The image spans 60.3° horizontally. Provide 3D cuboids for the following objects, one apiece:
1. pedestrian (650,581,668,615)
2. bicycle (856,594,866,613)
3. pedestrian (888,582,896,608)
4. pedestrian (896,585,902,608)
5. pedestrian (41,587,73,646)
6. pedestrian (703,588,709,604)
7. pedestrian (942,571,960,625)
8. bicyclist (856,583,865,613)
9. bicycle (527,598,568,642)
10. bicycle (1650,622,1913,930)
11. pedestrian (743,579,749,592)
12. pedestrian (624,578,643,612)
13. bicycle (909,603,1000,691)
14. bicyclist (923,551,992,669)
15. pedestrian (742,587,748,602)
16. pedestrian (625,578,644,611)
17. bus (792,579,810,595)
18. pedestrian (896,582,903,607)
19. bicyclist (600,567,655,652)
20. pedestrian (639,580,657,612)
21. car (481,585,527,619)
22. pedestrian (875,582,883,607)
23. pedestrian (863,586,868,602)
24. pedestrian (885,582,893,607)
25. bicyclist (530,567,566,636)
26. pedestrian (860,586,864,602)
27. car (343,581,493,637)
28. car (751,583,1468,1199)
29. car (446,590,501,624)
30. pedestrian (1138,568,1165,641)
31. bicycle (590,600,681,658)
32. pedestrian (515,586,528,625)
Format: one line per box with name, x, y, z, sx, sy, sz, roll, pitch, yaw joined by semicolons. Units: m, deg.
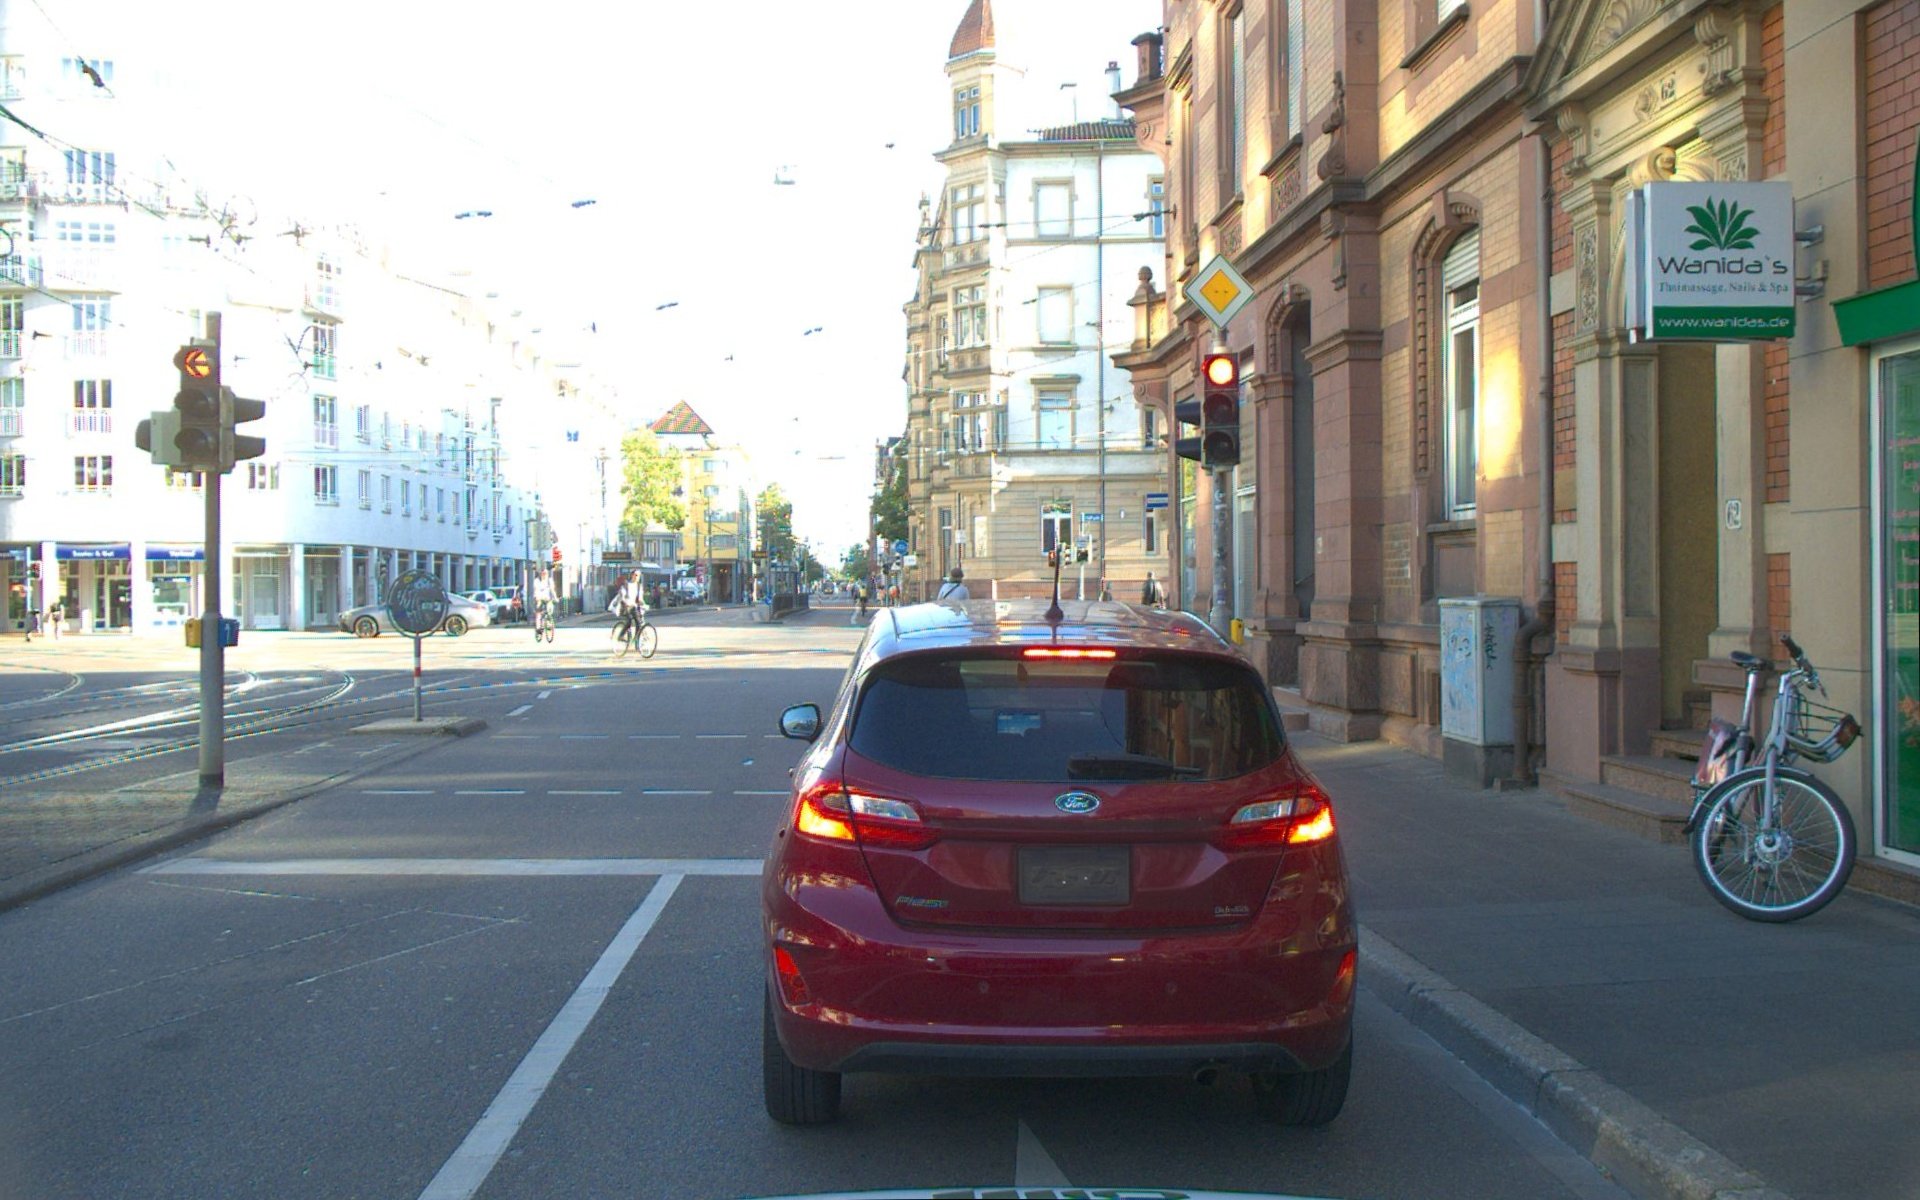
pedestrian;-18.618;-0.139;102.360;1.025;2.049;0.958;-1;0;-6
bicycle;-5.774;0.183;96.503;0.515;1.108;1.486;-1;0;-1
pedestrian;-5.396;-0.432;130.852;0.565;2.049;0.631;-1;0;2
pedestrian;-4.460;-0.267;121.676;0.405;1.710;0.484;-1;0;-1
pedestrian;-31.822;0.586;58.283;0.934;2.049;0.930;-1;0;-31
pedestrian;-25.193;-0.382;163.884;0.569;1.514;0.525;-1;0;-5
pedestrian;-0.349;-0.063;63.069;0.638;2.049;0.759;-1;0;-4
bicyclist;-5.786;-0.115;96.340;0.489;1.705;0.545;-1;0;-2
bicycle;-11.274;0.525;45.192;0.797;1.167;1.996;-1;0;-23
bicycle;3.633;0.723;7.456;0.700;1.172;1.656;-2;0;15
pedestrian;-25.411;-1.722;196.418;0.619;1.632;0.575;-1;0;-20
pedestrian;-19.778;-0.315;100.244;0.937;2.049;1.048;-1;0;-4
bicycle;-0.058;0.645;23.542;0.613;1.198;2.025;1;0;21
bicyclist;-0.033;0.136;23.588;0.747;1.655;0.732;1;0;21
pedestrian;-20.956;-0.534;161.286;0.513;1.514;0.582;-1;0;-2
pedestrian;-20.186;-0.331;102.551;1.025;2.049;0.958;-1;0;-6
bus;-20.776;-1.679;216.761;1.887;2.049;7.134;-1;0;-2
pedestrian;-4.918;-0.461;134.356;0.565;2.049;0.631;-1;0;2
bicyclist;-6.996;0.193;34.837;0.779;1.756;0.806;-1;0;40
pedestrian;-19.762;-0.260;104.707;1.025;2.049;0.958;-1;0;-6
car;-23.975;0.092;87.052;1.667;1.748;3.561;-1;0;-4
pedestrian;-6.648;-0.437;135.954;0.565;2.049;0.631;-1;0;2
pedestrian;-11.401;-0.778;200.279;0.565;1.920;0.630;-1;0;-3
pedestrian;-5.859;-0.468;136.040;0.565;2.049;0.631;-1;0;2
bicyclist;-11.222;0.041;45.033;0.797;1.853;0.986;-1;0;-23
pedestrian;-12.056;-0.728;203.594;0.565;1.920;0.669;-1;0;-3
car;-17.272;0.266;52.871;4.367;1.669;1.698;-1;0;-13
car;0.200;0.707;5.915;1.720;1.492;3.941;1;0;-5
car;-23.367;0.333;79.544;1.730;1.573;3.459;-1;0;-3
pedestrian;4.774;0.113;41.205;0.549;1.786;0.650;-1;0;-1
bicycle;-6.826;0.605;34.709;2.012;1.167;0.806;0;0;41
pedestrian;-19.422;0.223;73.286;0.514;1.711;0.485;-1;0;-11
